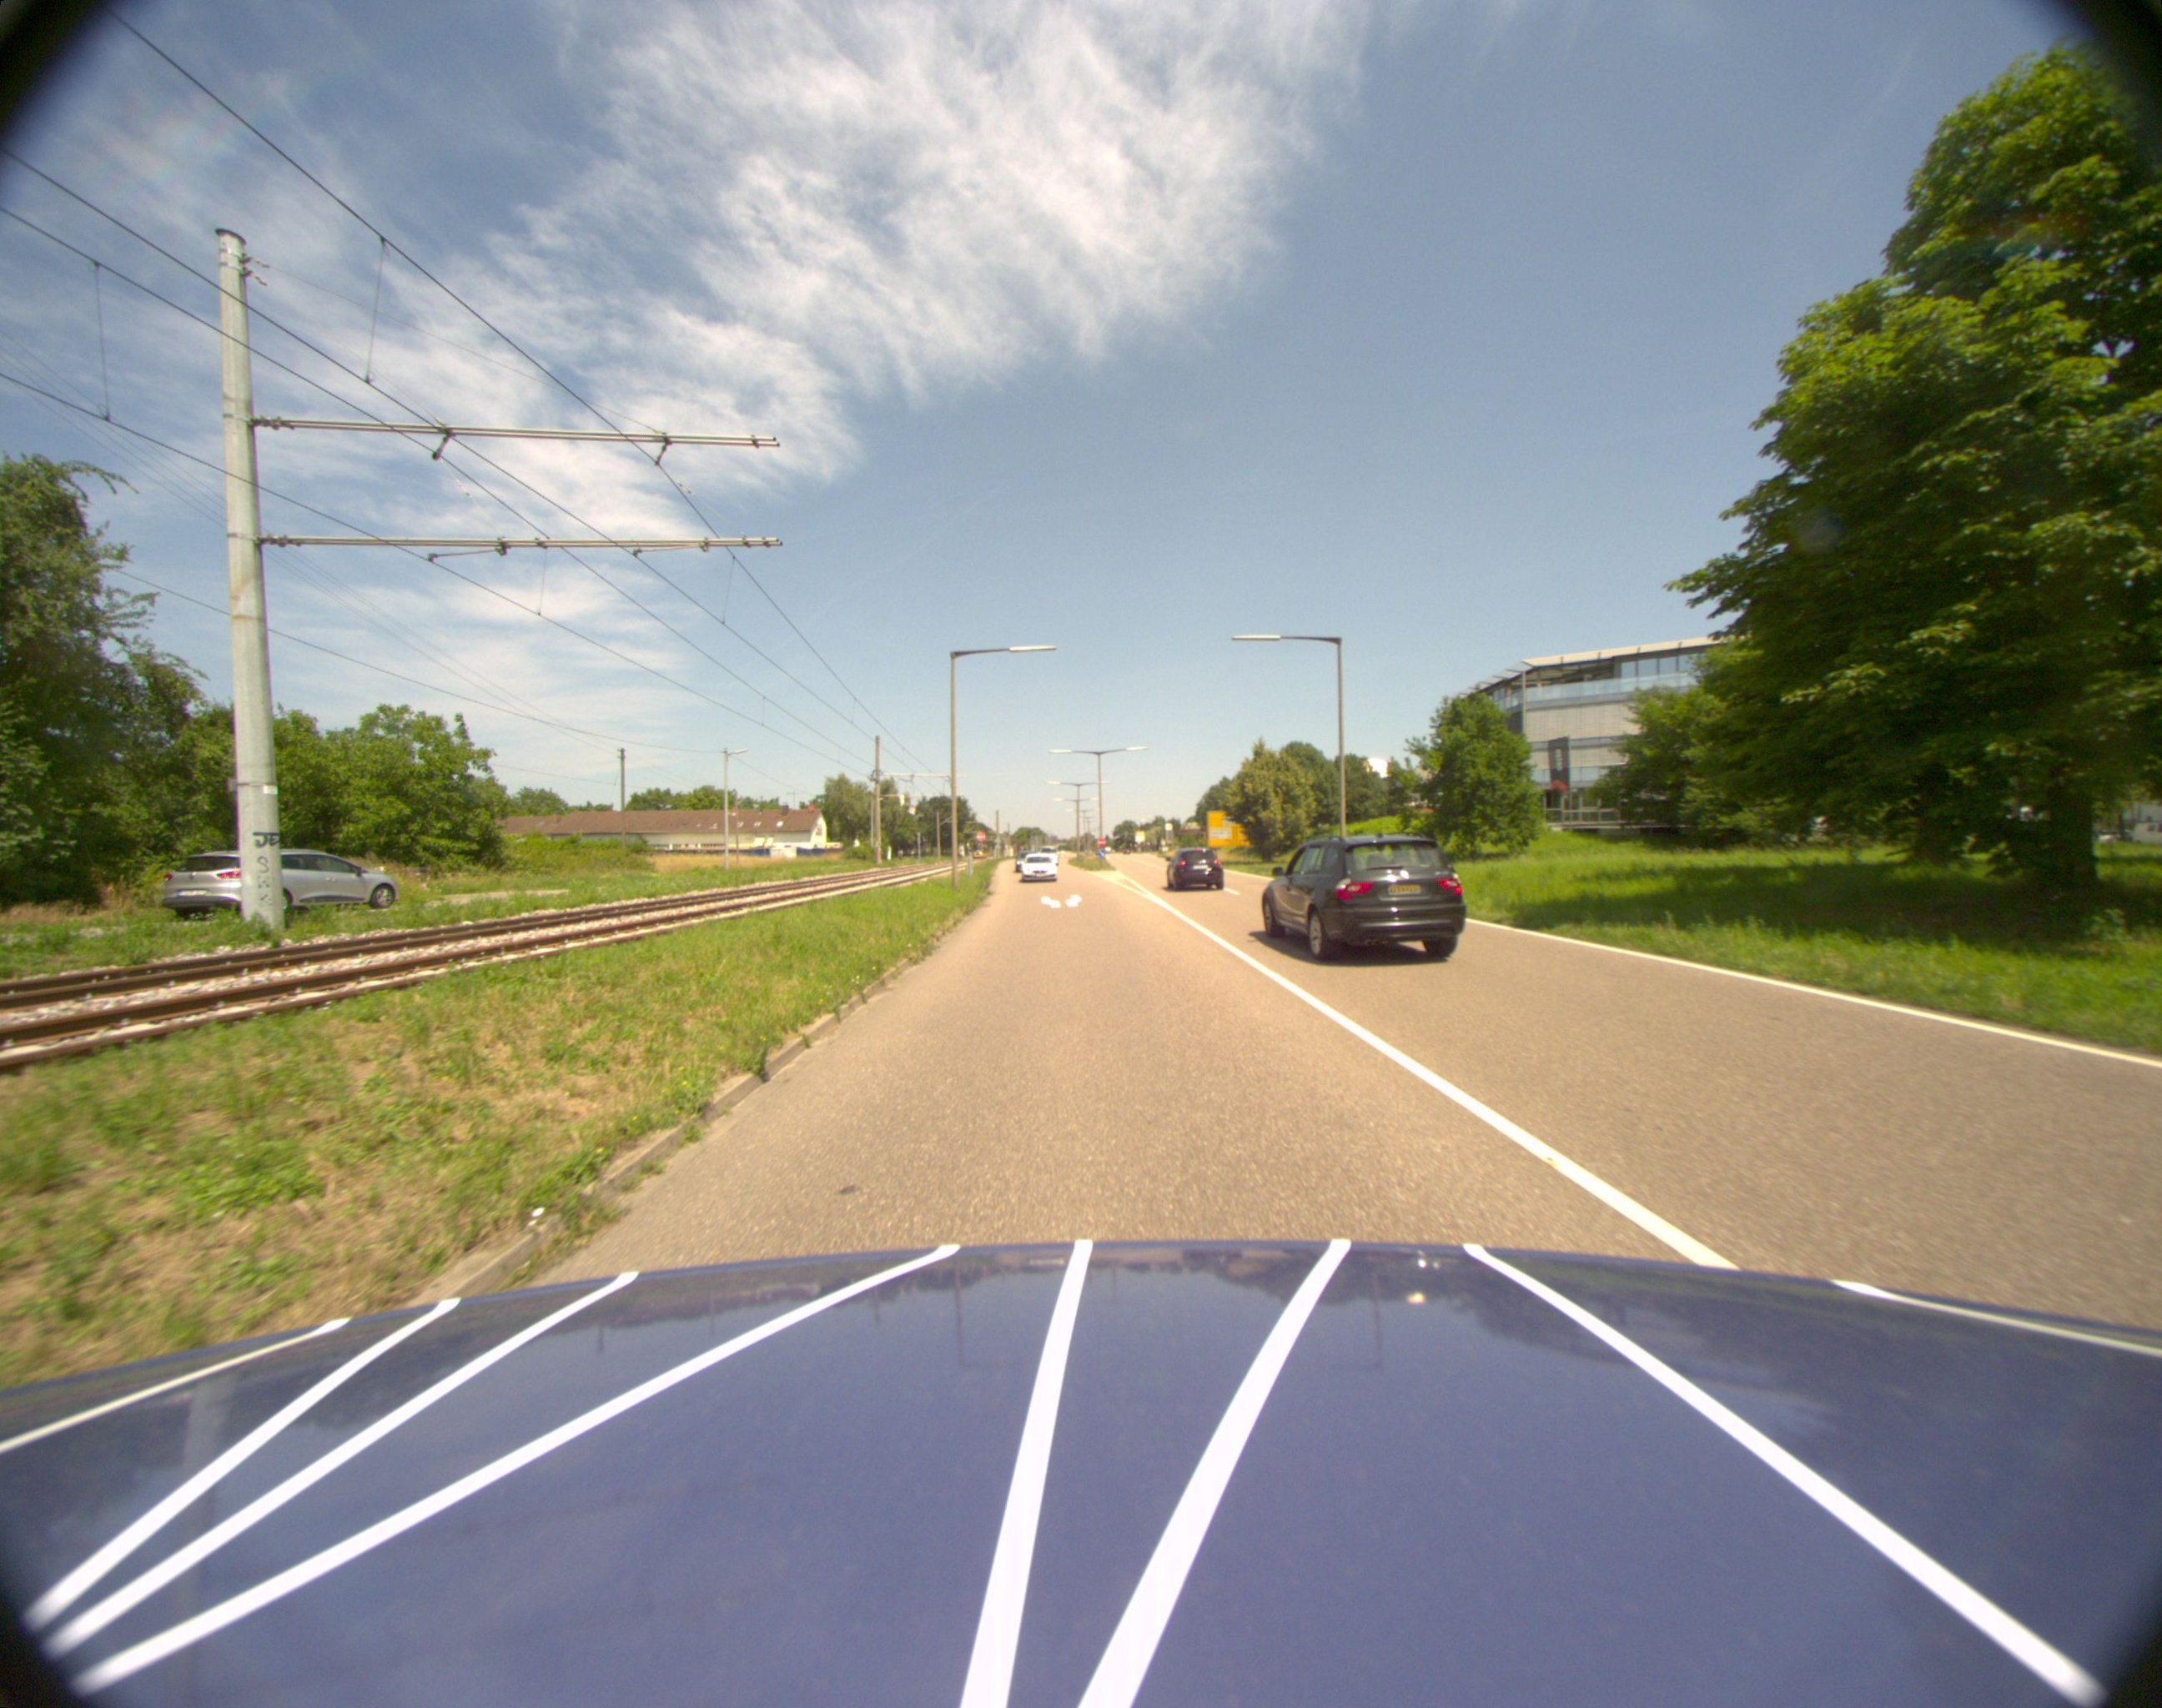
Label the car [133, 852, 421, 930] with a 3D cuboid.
[{"bbox_3d":[-17.836,0.727,17.270,1.685,1.406,4.548,-1,2,-1],"label":"car"}]

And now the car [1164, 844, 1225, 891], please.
[{"bbox_3d":[4.189,0.435,28.547,1.826,1.563,4.111,-1,2,2],"label":"car"}]

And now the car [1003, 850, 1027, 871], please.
[{"bbox_3d":[-4.859,0.445,56.246,1.510,1.423,3.357,-1,2,-2],"label":"car"}]

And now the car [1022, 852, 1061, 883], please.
[{"bbox_3d":[-2.052,0.666,40.437,1.771,1.434,4.128,-1,2,0],"label":"car"}]

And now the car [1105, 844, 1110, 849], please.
[{"bbox_3d":[9.263,-2.658,265.362,1.619,1.387,3.599,-1,2,-3],"label":"car"}]

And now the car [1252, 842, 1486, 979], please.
[{"bbox_3d":[3.914,0.677,11.242,1.831,1.592,4.484,-1,0,1],"label":"car"}]

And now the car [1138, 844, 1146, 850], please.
[{"bbox_3d":[17.373,-2.051,216.151,1.653,1.577,3.818,-1,2,-1],"label":"car"}]

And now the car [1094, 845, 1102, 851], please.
[{"bbox_3d":[4.574,-1.630,205.099,1.619,1.387,3.599,-1,2,-3],"label":"car"}]

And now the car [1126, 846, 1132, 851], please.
[{"bbox_3d":[13.075,-1.432,208.376,1.621,1.346,3.515,-1,2,3],"label":"car"}]

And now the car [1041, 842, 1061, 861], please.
[{"bbox_3d":[-2.931,-0.262,74.716,1.883,1.687,3.786,-1,2,-2],"label":"car"}]
